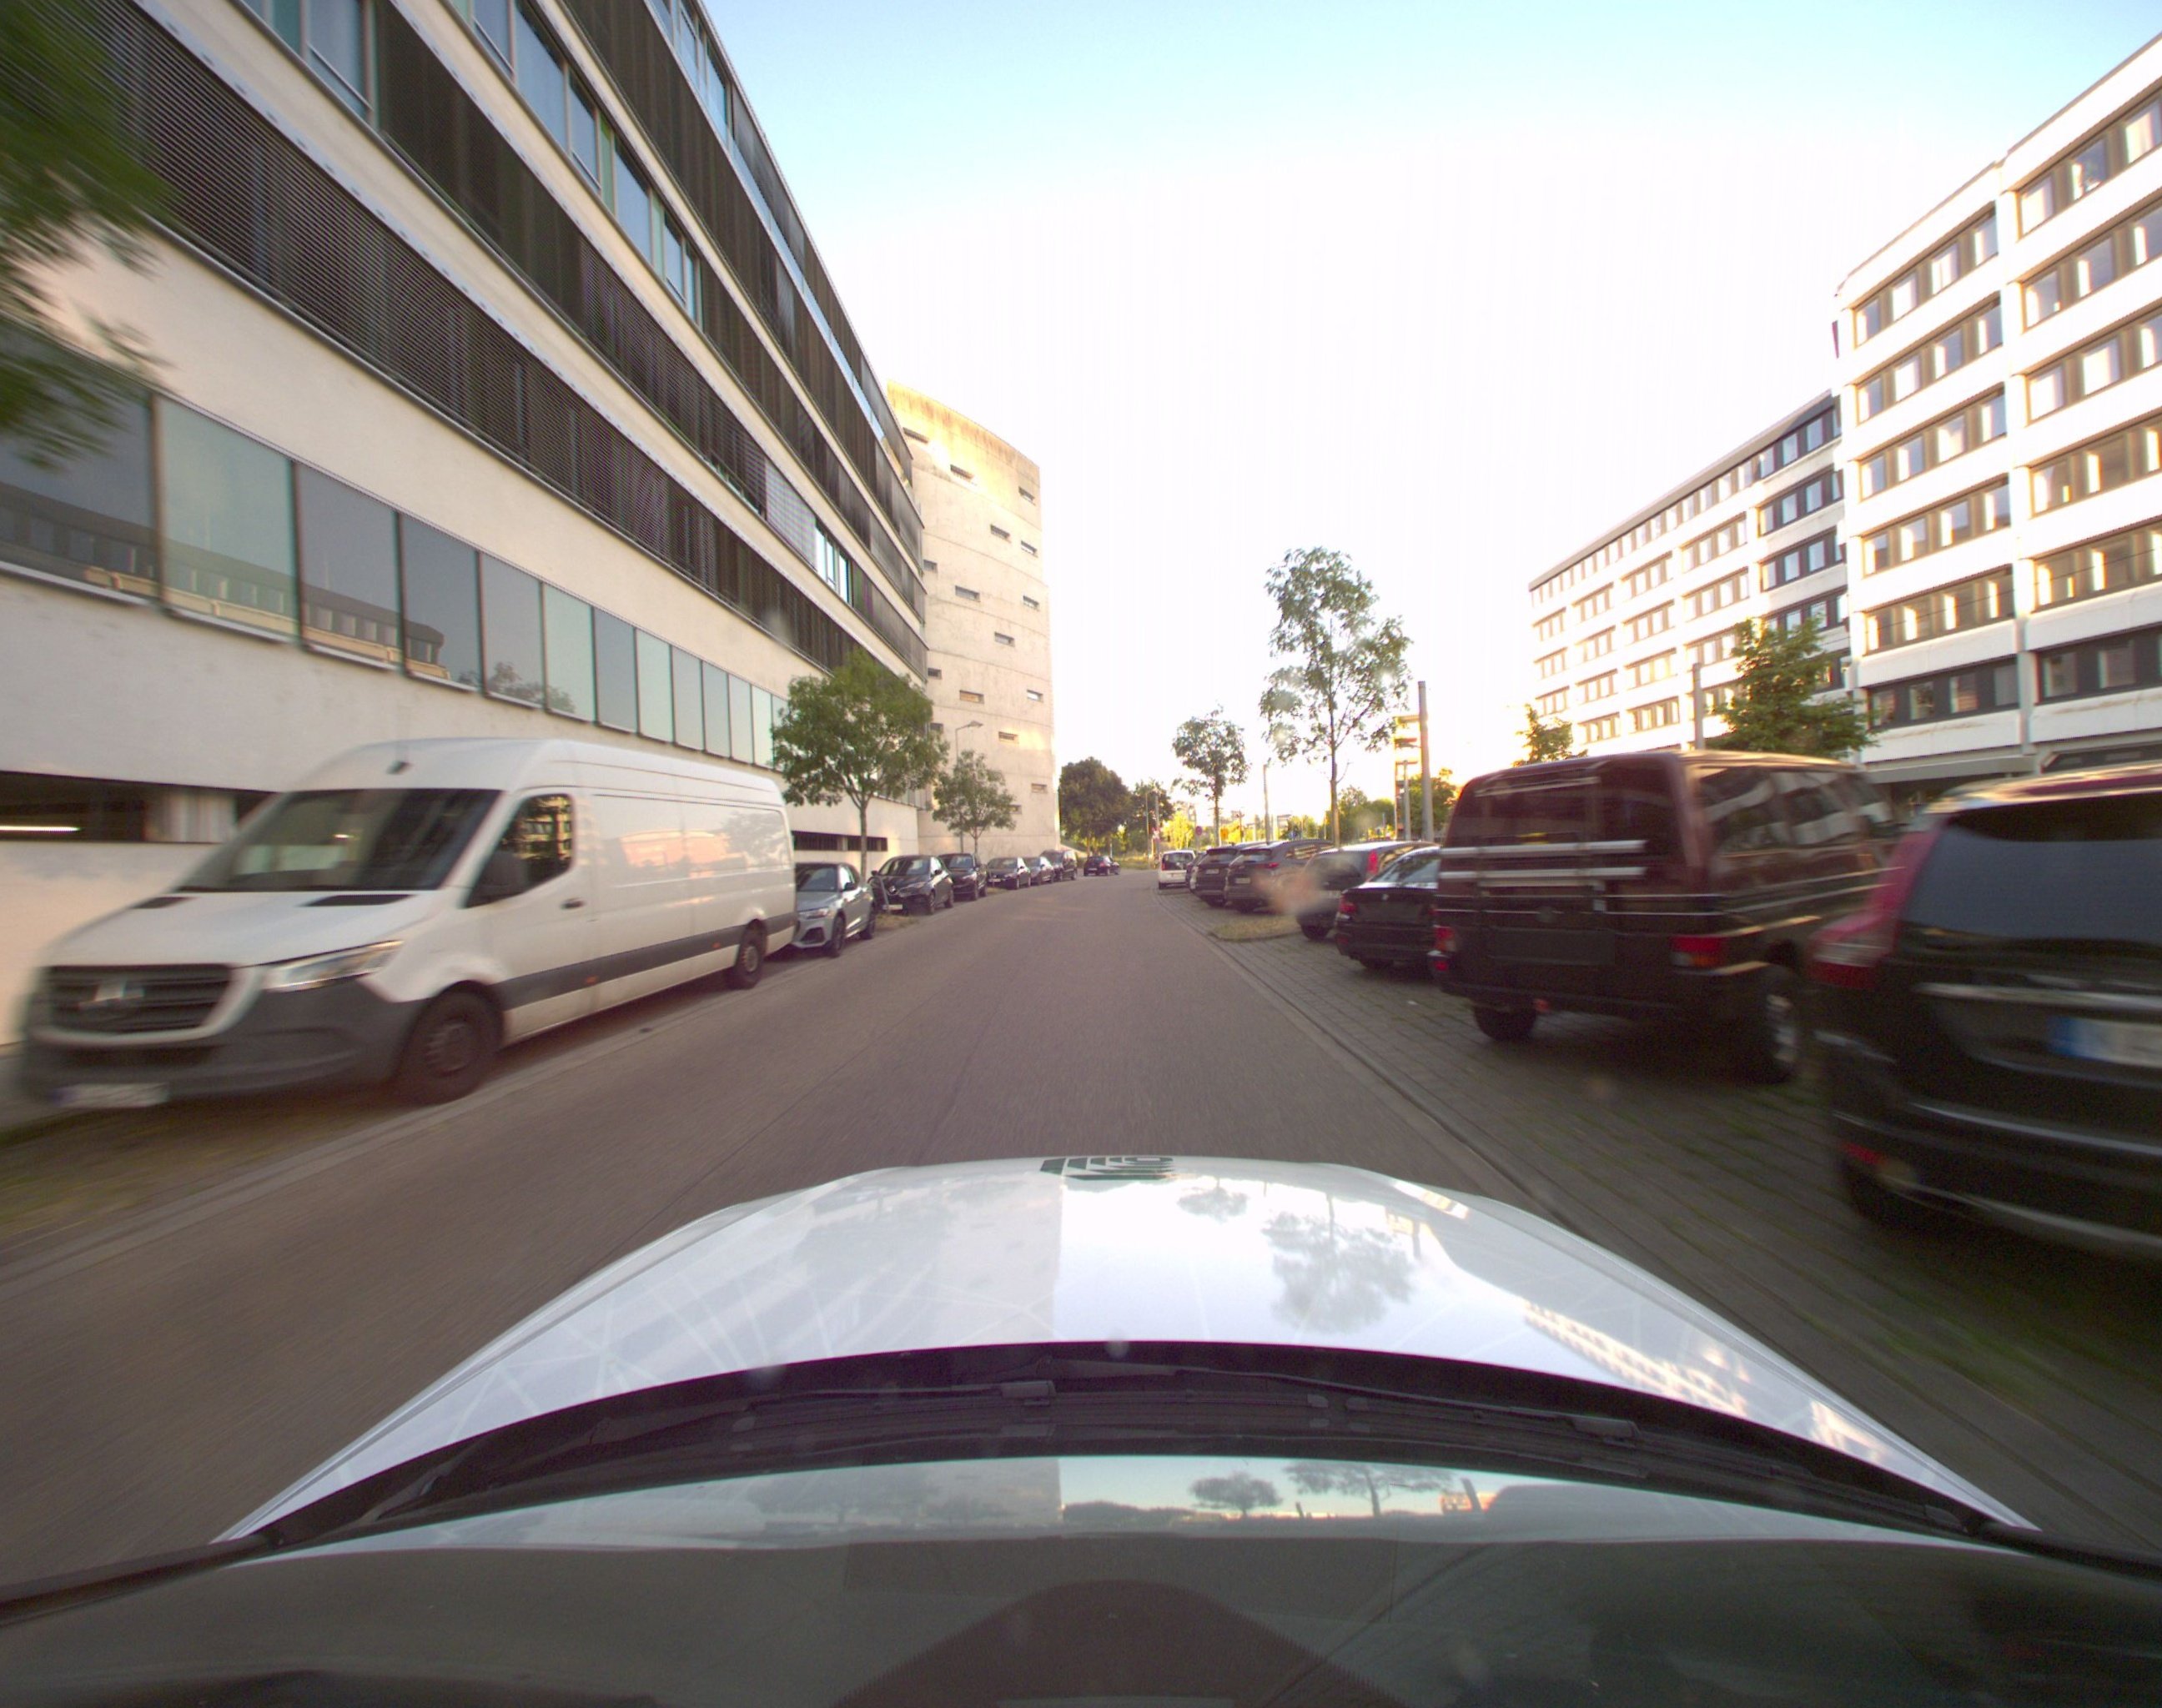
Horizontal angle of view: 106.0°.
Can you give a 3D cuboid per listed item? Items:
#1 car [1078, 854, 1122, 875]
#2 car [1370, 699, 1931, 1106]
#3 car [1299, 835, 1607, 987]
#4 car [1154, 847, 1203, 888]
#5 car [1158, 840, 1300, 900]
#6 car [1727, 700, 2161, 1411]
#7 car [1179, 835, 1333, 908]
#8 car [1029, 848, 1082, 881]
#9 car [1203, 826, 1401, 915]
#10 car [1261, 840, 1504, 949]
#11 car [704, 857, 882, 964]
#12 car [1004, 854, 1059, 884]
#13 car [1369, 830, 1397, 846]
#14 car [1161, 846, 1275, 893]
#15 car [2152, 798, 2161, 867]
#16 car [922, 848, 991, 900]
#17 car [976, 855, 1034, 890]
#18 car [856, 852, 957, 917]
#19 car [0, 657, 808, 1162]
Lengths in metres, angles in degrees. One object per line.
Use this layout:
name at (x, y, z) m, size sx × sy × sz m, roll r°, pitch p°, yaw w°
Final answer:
car at (1.416, 0.690, 57.941) m, size 1.929 × 1.382 × 4.419 m, roll 0°, pitch 1°, yaw 17°
car at (4.444, 0.204, 6.117) m, size 4.620 × 2.035 × 1.852 m, roll -1°, pitch 0°, yaw -33°
car at (4.499, 0.529, 9.673) m, size 3.795 × 1.465 × 1.621 m, roll -1°, pitch 1°, yaw -35°
car at (3.974, 0.491, 32.822) m, size 1.712 × 1.467 × 3.562 m, roll -3°, pitch 0°, yaw 9°
car at (4.588, 0.480, 25.223) m, size 3.944 × 1.509 × 1.938 m, roll -4°, pitch 0°, yaw -29°
car at (4.629, 0.457, 3.186) m, size 4.619 × 1.749 × 1.853 m, roll -1°, pitch 1°, yaw -32°
car at (4.596, 0.396, 21.312) m, size 3.792 × 1.725 × 1.746 m, roll -1°, pitch 0°, yaw -32°
car at (-1.428, 0.556, 47.616) m, size 1.744 × 1.798 × 4.483 m, roll 0°, pitch 1°, yaw 16°
car at (5.028, 0.349, 18.557) m, size 3.996 × 1.639 × 1.956 m, roll -4°, pitch 0°, yaw -27°
car at (4.810, 0.528, 12.850) m, size 3.795 × 1.442 × 1.745 m, roll -1°, pitch 1°, yaw -35°
car at (-4.551, 0.804, 13.510) m, size 1.752 × 1.439 × 3.896 m, roll 0°, pitch 1°, yaw -4°
car at (-2.508, 0.745, 42.409) m, size 1.711 × 1.457 × 4.709 m, roll 0°, pitch 1°, yaw 11°
car at (50.108, -2.637, 135.102) m, size 4.117 × 2.584 × 1.712 m, roll -2°, pitch 0°, yaw 23°
car at (4.810, 0.508, 28.555) m, size 3.766 × 1.509 × 1.671 m, roll -1°, pitch 1°, yaw -31°
car at (23.869, -0.438, 15.881) m, size 3.975 × 1.398 × 1.591 m, roll 0°, pitch 0°, yaw -1°
car at (-4.247, 0.643, 28.367) m, size 1.750 × 1.653 × 3.949 m, roll 0°, pitch 1°, yaw 0°
car at (-3.411, 0.781, 37.241) m, size 1.713 × 1.457 × 4.280 m, roll 0°, pitch 1°, yaw 7°
car at (-4.610, 0.753, 22.061) m, size 1.749 × 1.561 × 4.044 m, roll 0°, pitch 1°, yaw 1°
car at (-4.810, 0.260, 7.680) m, size 1.951 × 2.617 × 6.895 m, roll 0°, pitch 1°, yaw 2°
